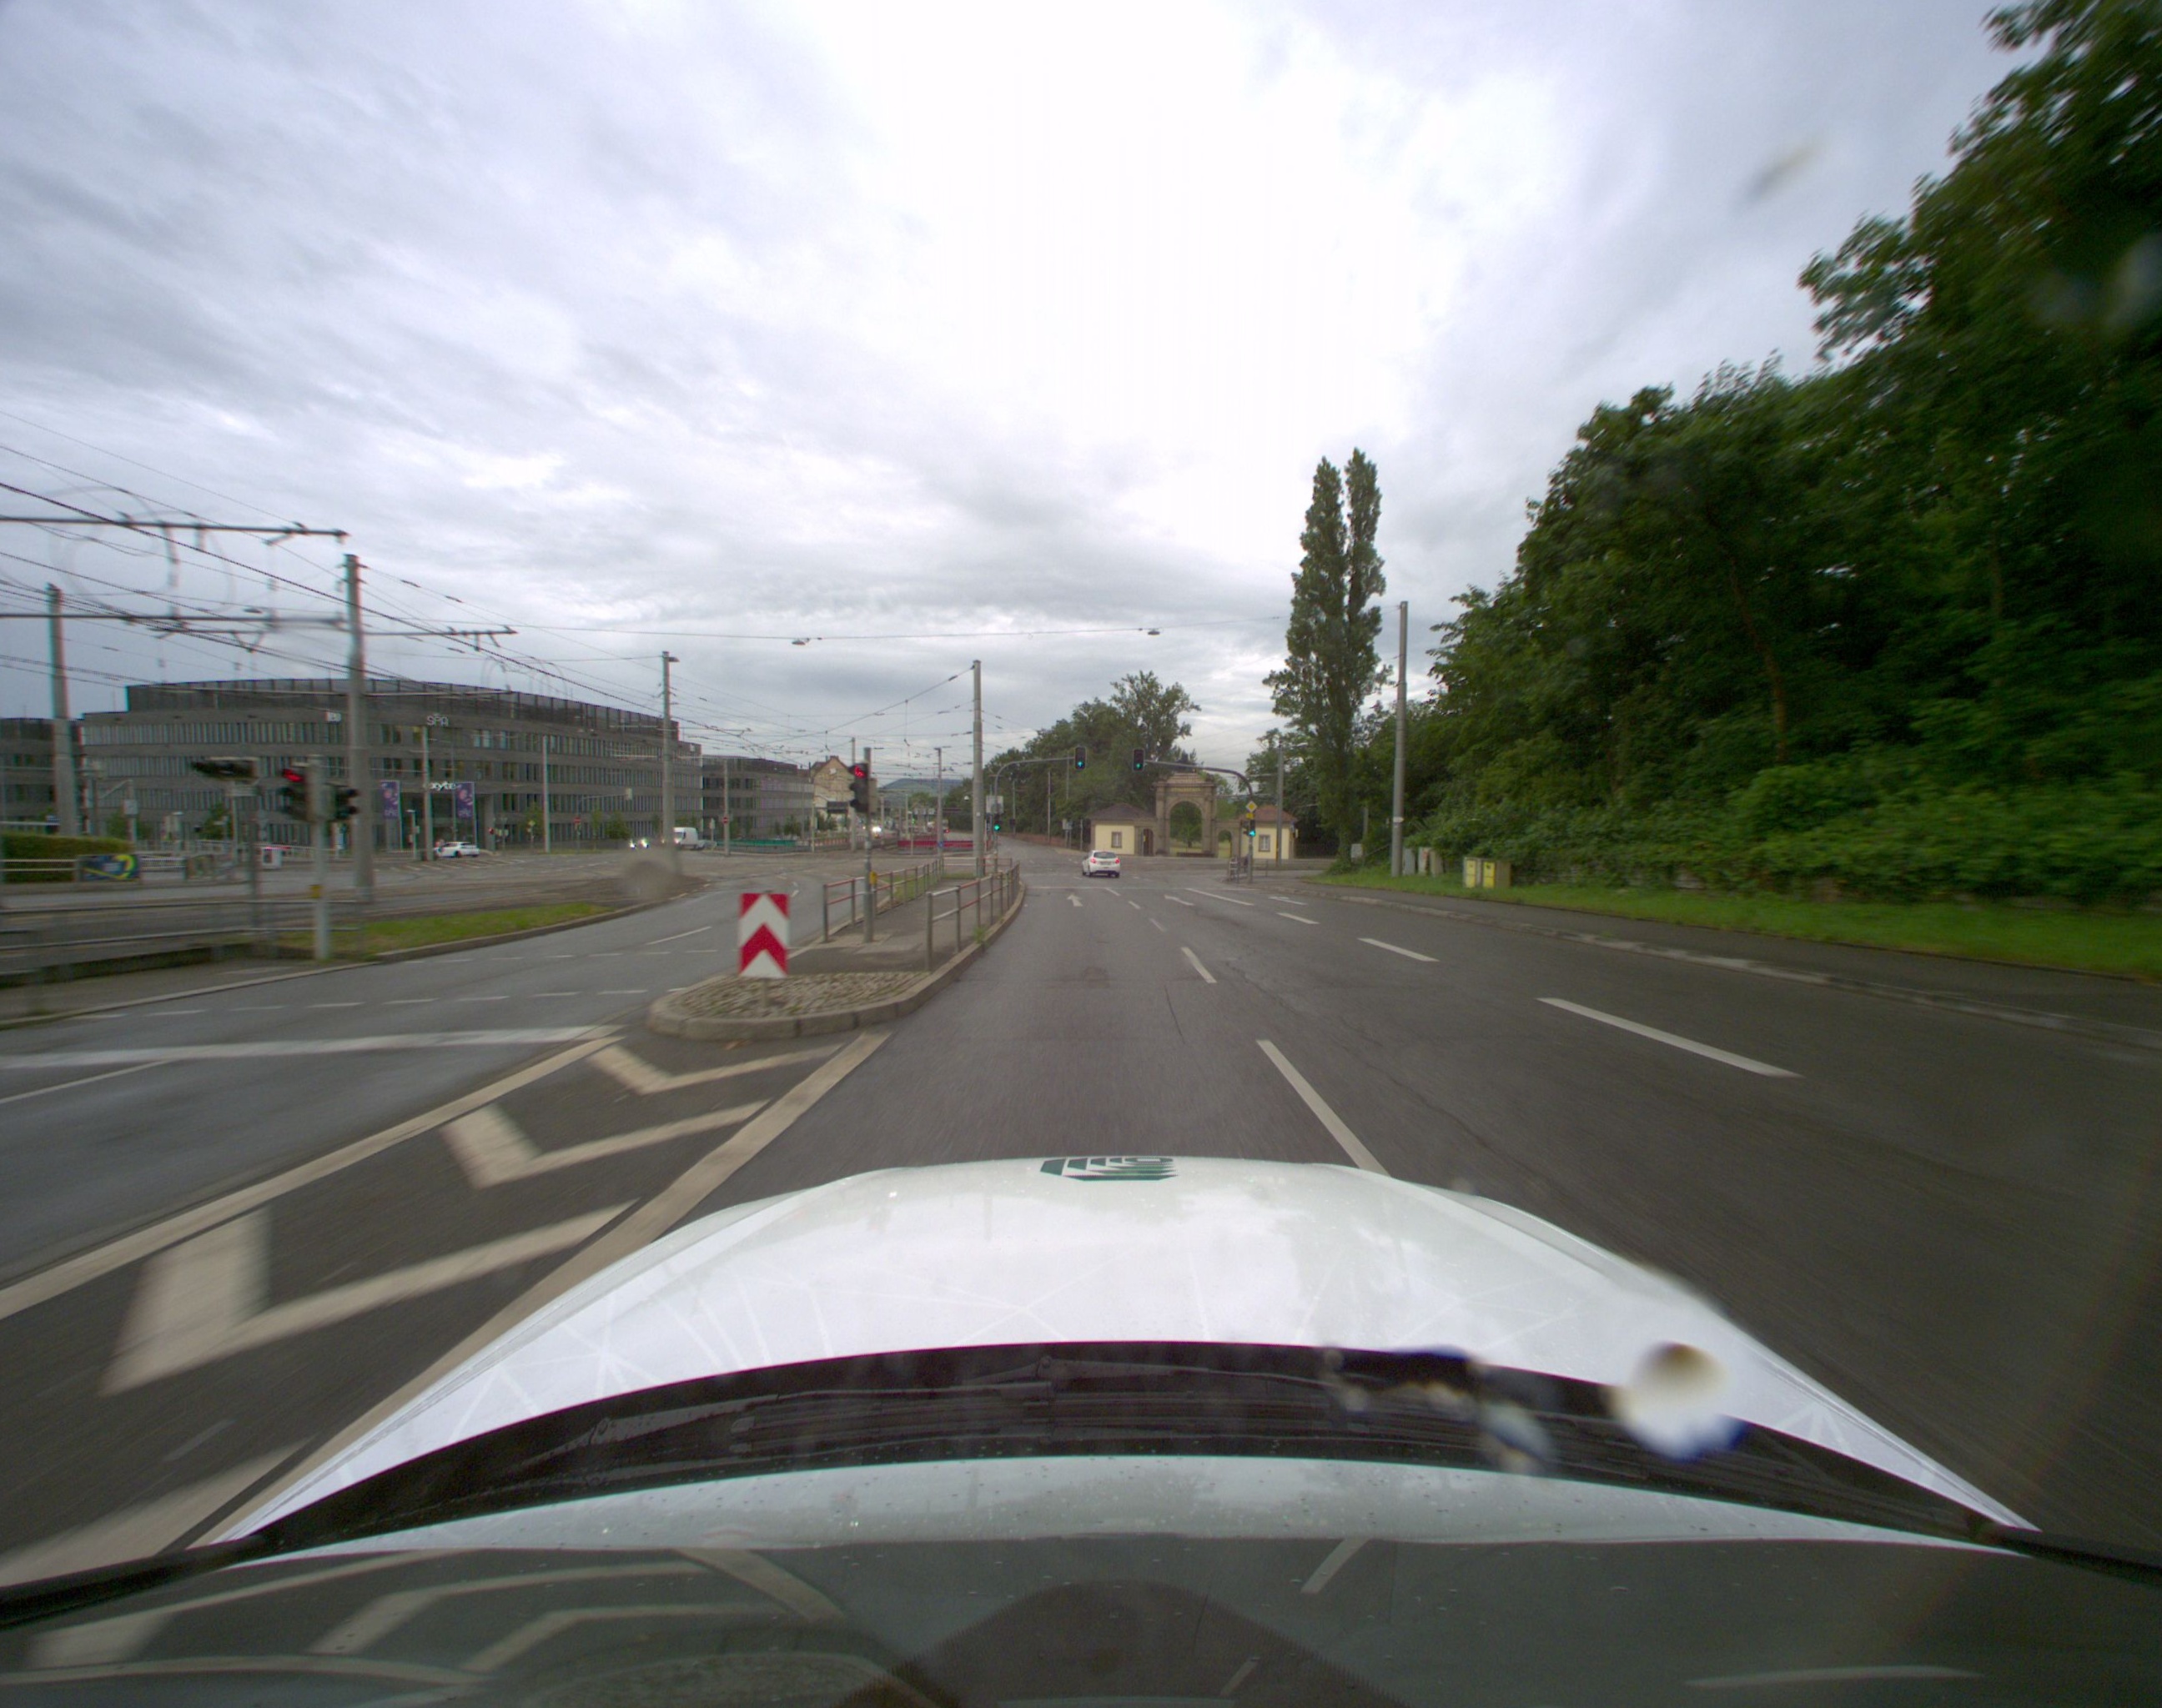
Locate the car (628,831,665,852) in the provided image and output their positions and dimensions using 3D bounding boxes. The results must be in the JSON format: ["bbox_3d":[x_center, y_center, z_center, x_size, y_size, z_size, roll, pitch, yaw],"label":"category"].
[{"bbox_3d":[-46.228,-1.274,86.699,1.991,2.153,4.238,-1,0,-6],"label":"car"}]

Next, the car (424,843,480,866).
[{"bbox_3d":[-55.968,0.051,72.510,3.955,2.014,2.009,0,-1,17],"label":"car"}]

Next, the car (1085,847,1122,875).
[{"bbox_3d":[1.224,0.406,45.137,1.948,1.488,4.000,0,-1,1],"label":"car"}]

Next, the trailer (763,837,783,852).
[{"bbox_3d":[-46.859,-1.450,123.971,1.823,2.074,4.263,0,-1,-7],"label":"trailer"}]

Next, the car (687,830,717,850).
[{"bbox_3d":[-45.100,-1.678,96.943,1.991,2.153,4.237,-1,-2,-6],"label":"car"}]

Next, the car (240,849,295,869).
[{"bbox_3d":[-76.721,0.498,76.776,3.955,1.816,2.009,0,-1,17],"label":"car"}]

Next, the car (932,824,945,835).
[{"bbox_3d":[-26.997,-4.651,154.168,1.997,1.872,3.980,-1,1,-15],"label":"car"}]

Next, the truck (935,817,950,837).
[{"bbox_3d":[-41.272,-8.015,242.745,3.469,5.401,11.994,0,-1,-14],"label":"truck"}]

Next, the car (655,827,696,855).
[{"bbox_3d":[-43.268,-1.396,87.049,1.991,2.831,5.706,-2,1,-6],"label":"car"}]
